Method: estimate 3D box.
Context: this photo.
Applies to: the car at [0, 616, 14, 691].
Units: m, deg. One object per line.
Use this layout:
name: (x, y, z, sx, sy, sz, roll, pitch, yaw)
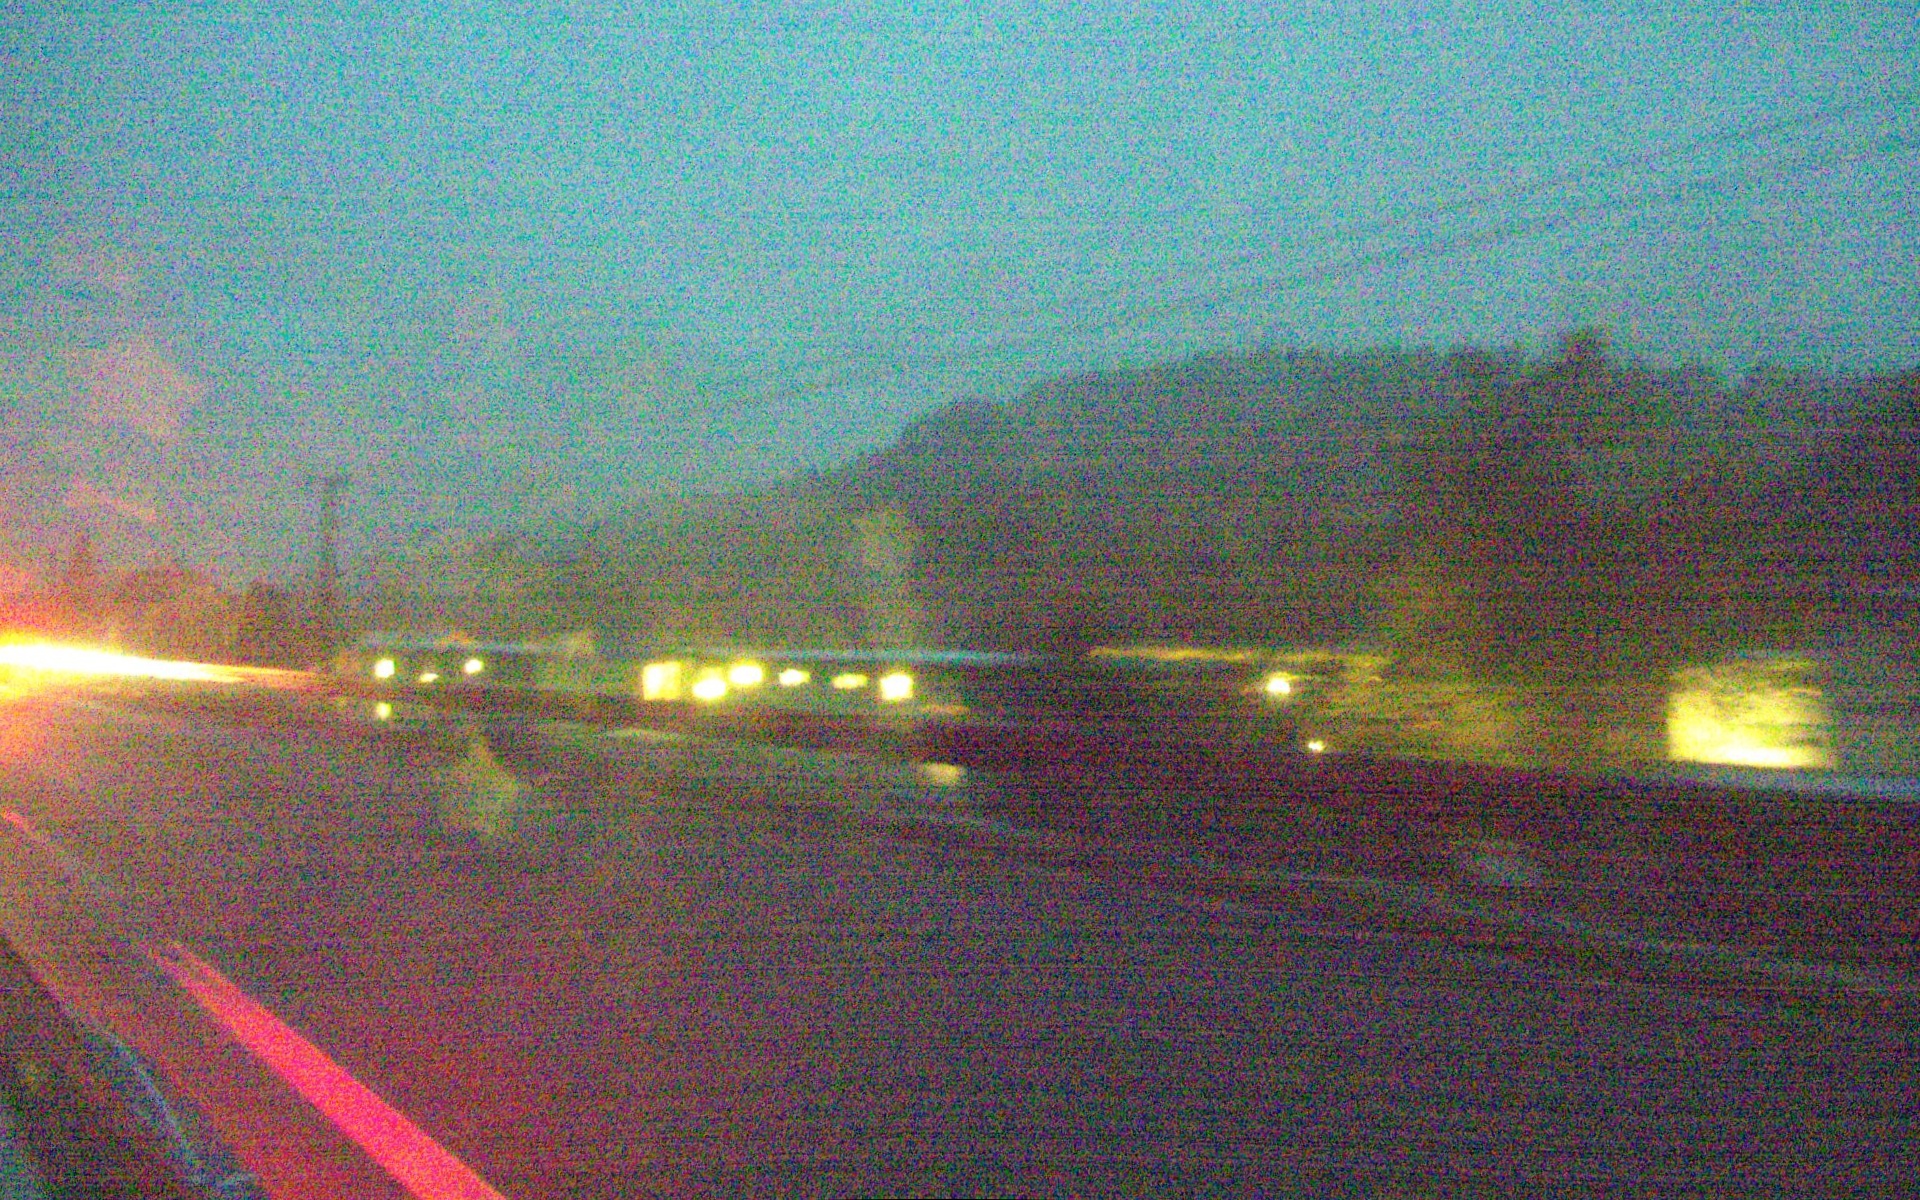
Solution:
car: (-25.537, 1.335, 25.521, 4.560, 1.838, 1.973, -1, -1, 41)
